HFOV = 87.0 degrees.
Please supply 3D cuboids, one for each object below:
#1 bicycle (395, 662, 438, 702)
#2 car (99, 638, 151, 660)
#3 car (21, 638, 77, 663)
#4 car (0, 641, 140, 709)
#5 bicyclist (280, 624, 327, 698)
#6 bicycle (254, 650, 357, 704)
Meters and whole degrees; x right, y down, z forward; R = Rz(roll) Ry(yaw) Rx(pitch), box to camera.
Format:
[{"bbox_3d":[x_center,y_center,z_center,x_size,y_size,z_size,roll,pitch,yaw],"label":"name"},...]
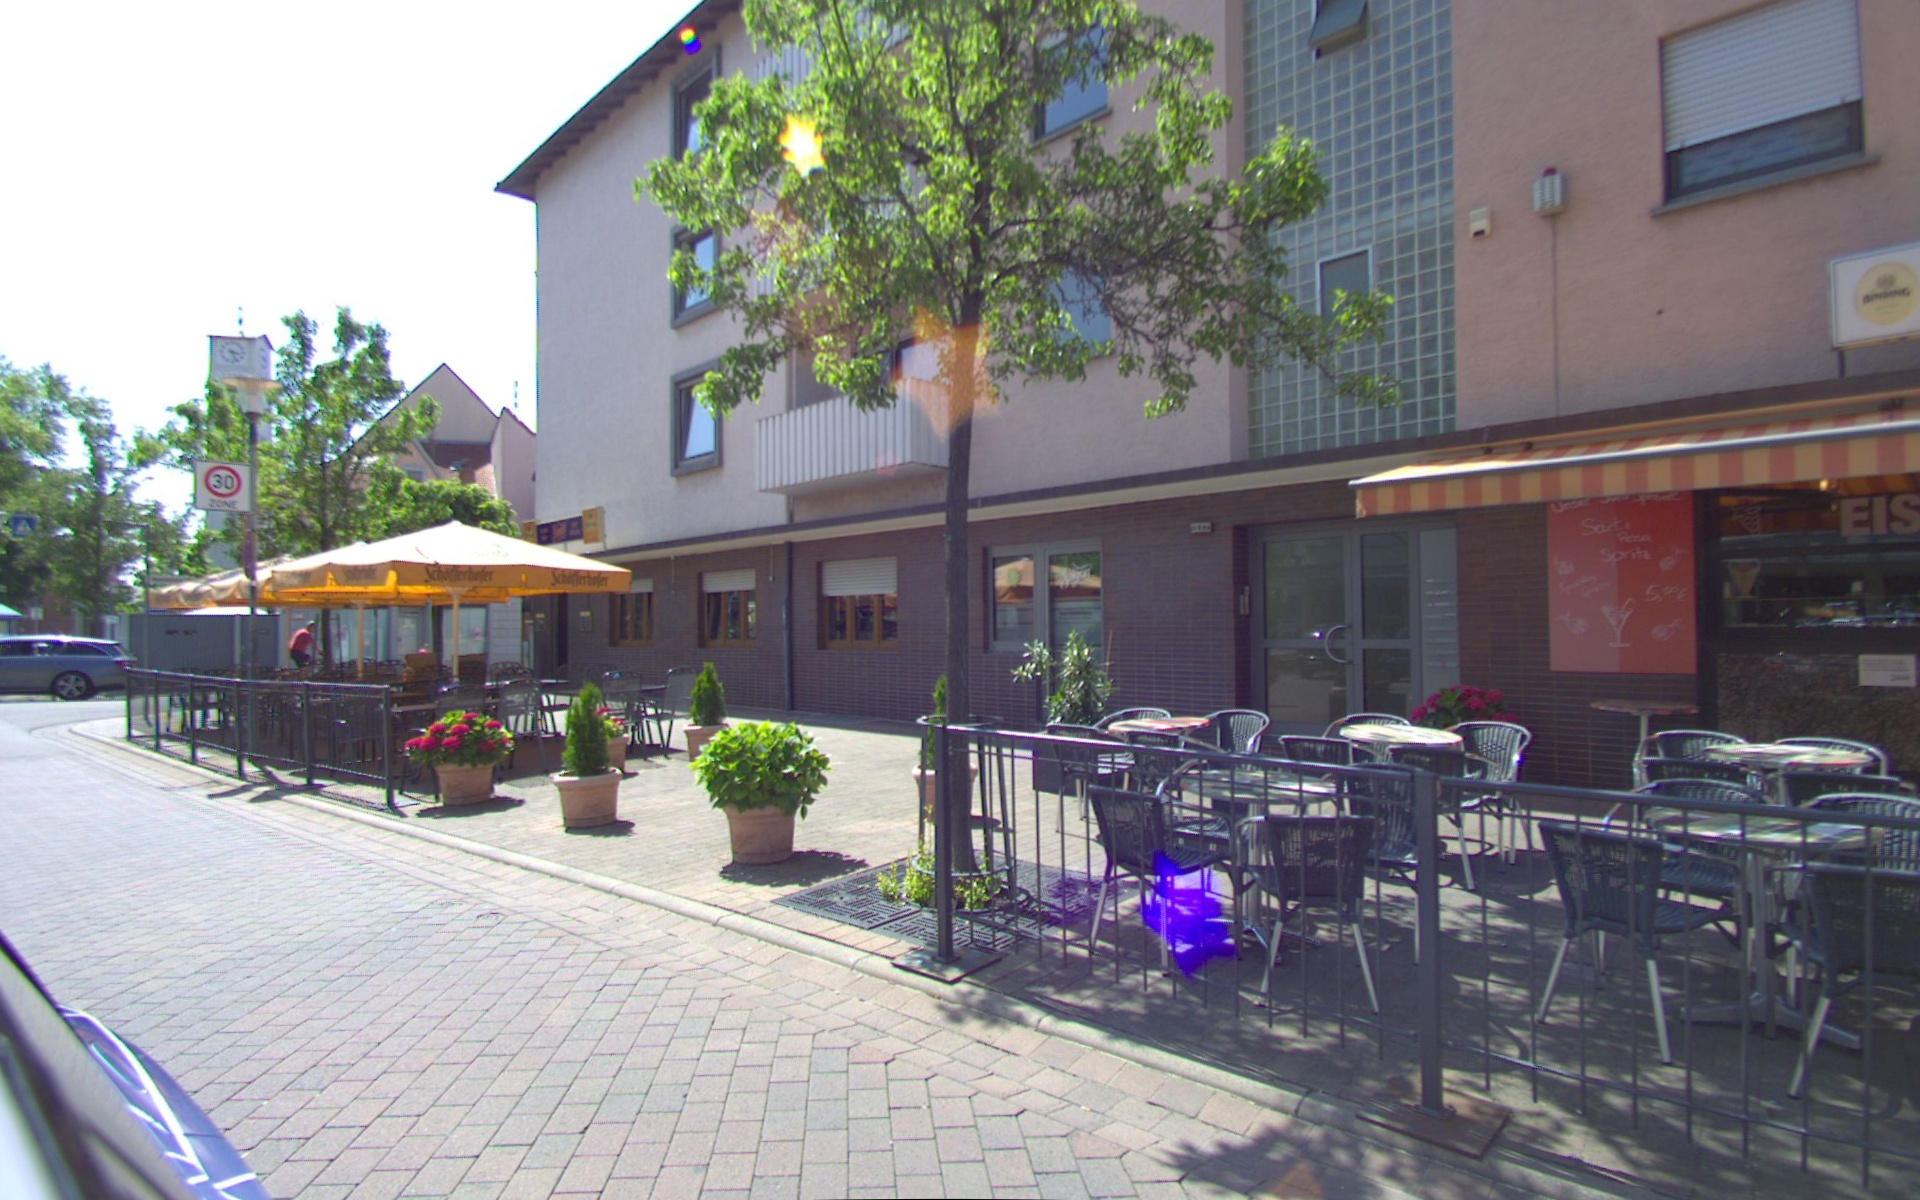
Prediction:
[{"bbox_3d":[-13.207,1.984,24.613,0.457,0.904,1.417,-2,-3,-9],"label":"bicycle"},{"bbox_3d":[-57.974,3.409,70.348,1.622,1.479,3.791,0,-3,-20],"label":"car"},{"bbox_3d":[-61.869,3.415,68.782,1.965,1.629,4.012,1,-2,-29],"label":"car"},{"bbox_3d":[-21.894,1.700,23.108,4.763,1.493,1.920,2,-4,-35],"label":"car"},{"bbox_3d":[-15.793,1.448,24.351,0.703,1.730,0.749,-2,-3,41],"label":"bicyclist"},{"bbox_3d":[-15.758,1.825,24.408,0.738,1.198,1.944,0,-2,40],"label":"bicycle"}]
